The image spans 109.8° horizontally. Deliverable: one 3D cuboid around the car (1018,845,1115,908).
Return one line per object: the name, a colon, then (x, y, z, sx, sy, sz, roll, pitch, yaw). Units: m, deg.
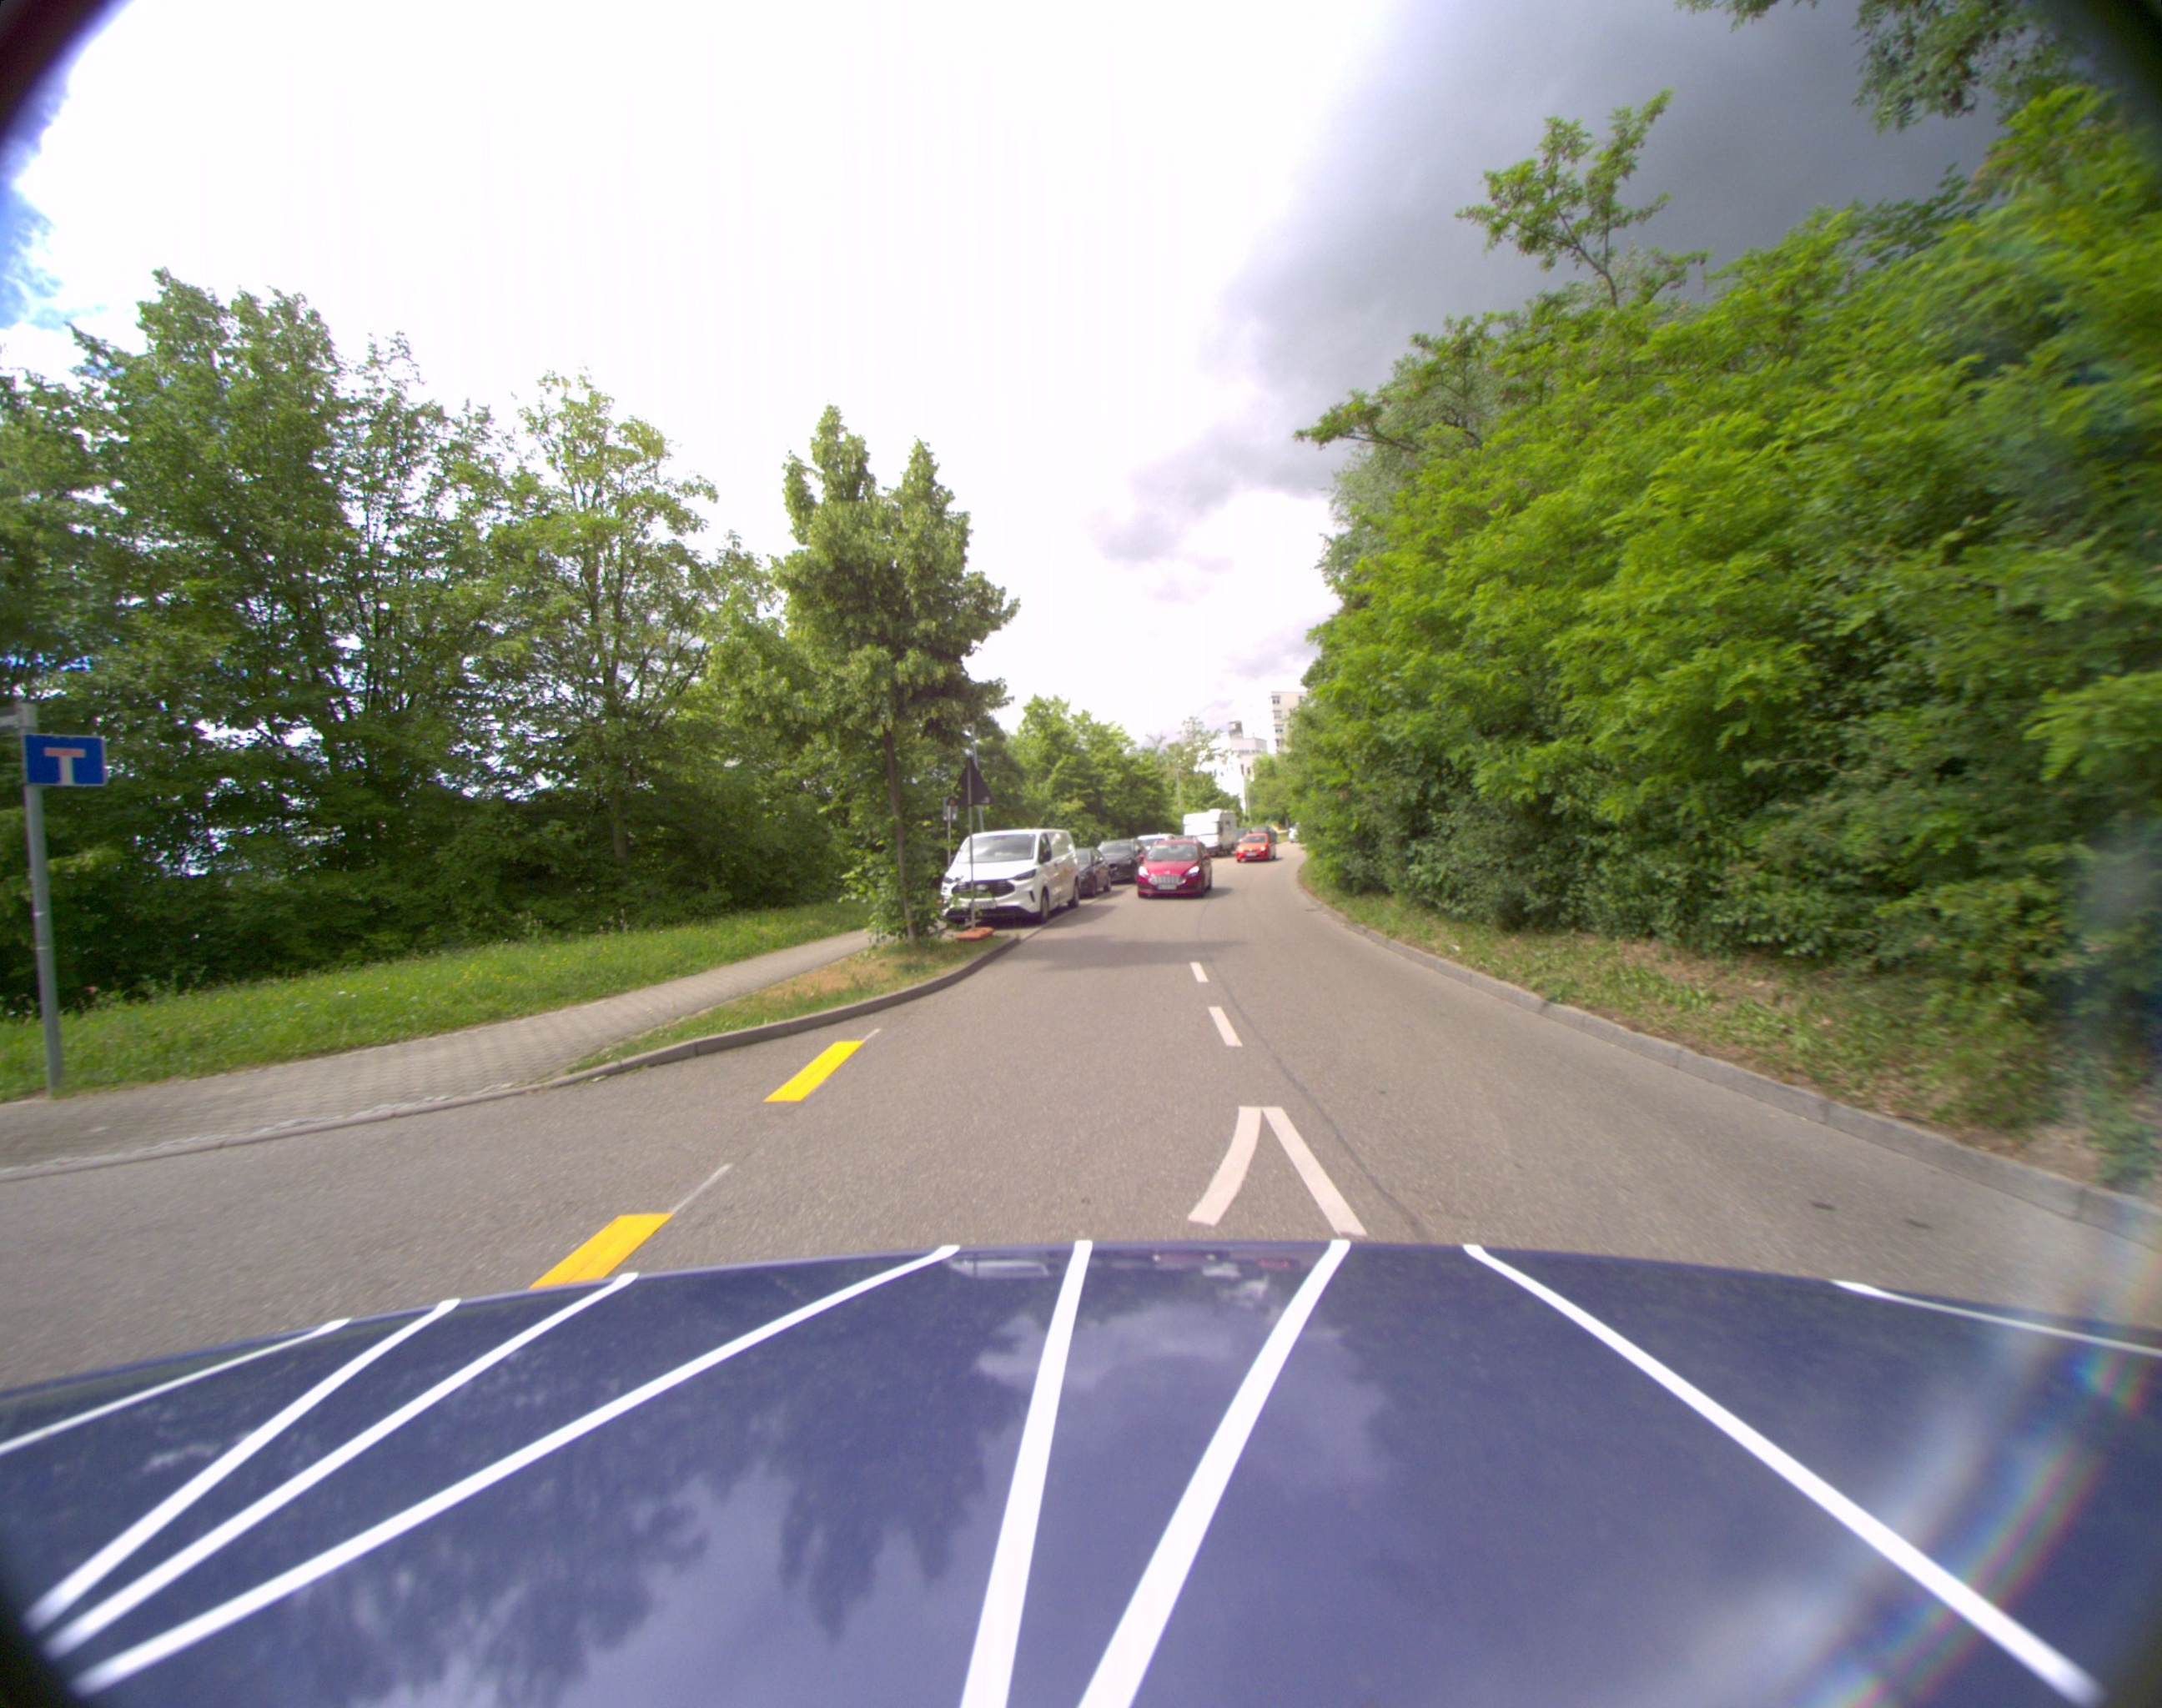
car: (-0.312, 0.586, 22.229, 1.800, 1.456, 4.002, -4, 2, 13)

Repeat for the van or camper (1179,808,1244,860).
van or camper: (8.275, -1.335, 47.713, 2.335, 2.853, 6.157, -5, 2, 24)

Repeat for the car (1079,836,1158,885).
car: (1.521, 0.202, 28.910, 1.996, 1.617, 4.282, -2, 2, 17)

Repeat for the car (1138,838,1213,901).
car: (2.868, 0.379, 22.422, 1.811, 1.600, 3.724, 0, 3, 13)

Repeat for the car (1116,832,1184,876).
car: (3.238, -0.044, 34.833, 1.874, 1.679, 4.584, -5, 1, 20)

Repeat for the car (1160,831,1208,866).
car: (5.659, -0.325, 41.412, 1.713, 1.582, 4.004, -5, 2, 20)

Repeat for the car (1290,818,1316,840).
car: (17.961, -2.024, 61.305, 1.778, 1.444, 4.002, -5, 3, 18)

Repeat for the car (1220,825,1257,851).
car: (11.282, -1.194, 54.188, 1.730, 1.511, 3.892, -3, 4, 24)

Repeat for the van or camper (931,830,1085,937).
van or camper: (-1.356, 0.504, 16.770, 1.997, 1.909, 5.268, -3, 1, 9)

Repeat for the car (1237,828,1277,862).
car: (9.469, -0.500, 40.805, 1.860, 1.435, 4.002, -5, 3, 14)
